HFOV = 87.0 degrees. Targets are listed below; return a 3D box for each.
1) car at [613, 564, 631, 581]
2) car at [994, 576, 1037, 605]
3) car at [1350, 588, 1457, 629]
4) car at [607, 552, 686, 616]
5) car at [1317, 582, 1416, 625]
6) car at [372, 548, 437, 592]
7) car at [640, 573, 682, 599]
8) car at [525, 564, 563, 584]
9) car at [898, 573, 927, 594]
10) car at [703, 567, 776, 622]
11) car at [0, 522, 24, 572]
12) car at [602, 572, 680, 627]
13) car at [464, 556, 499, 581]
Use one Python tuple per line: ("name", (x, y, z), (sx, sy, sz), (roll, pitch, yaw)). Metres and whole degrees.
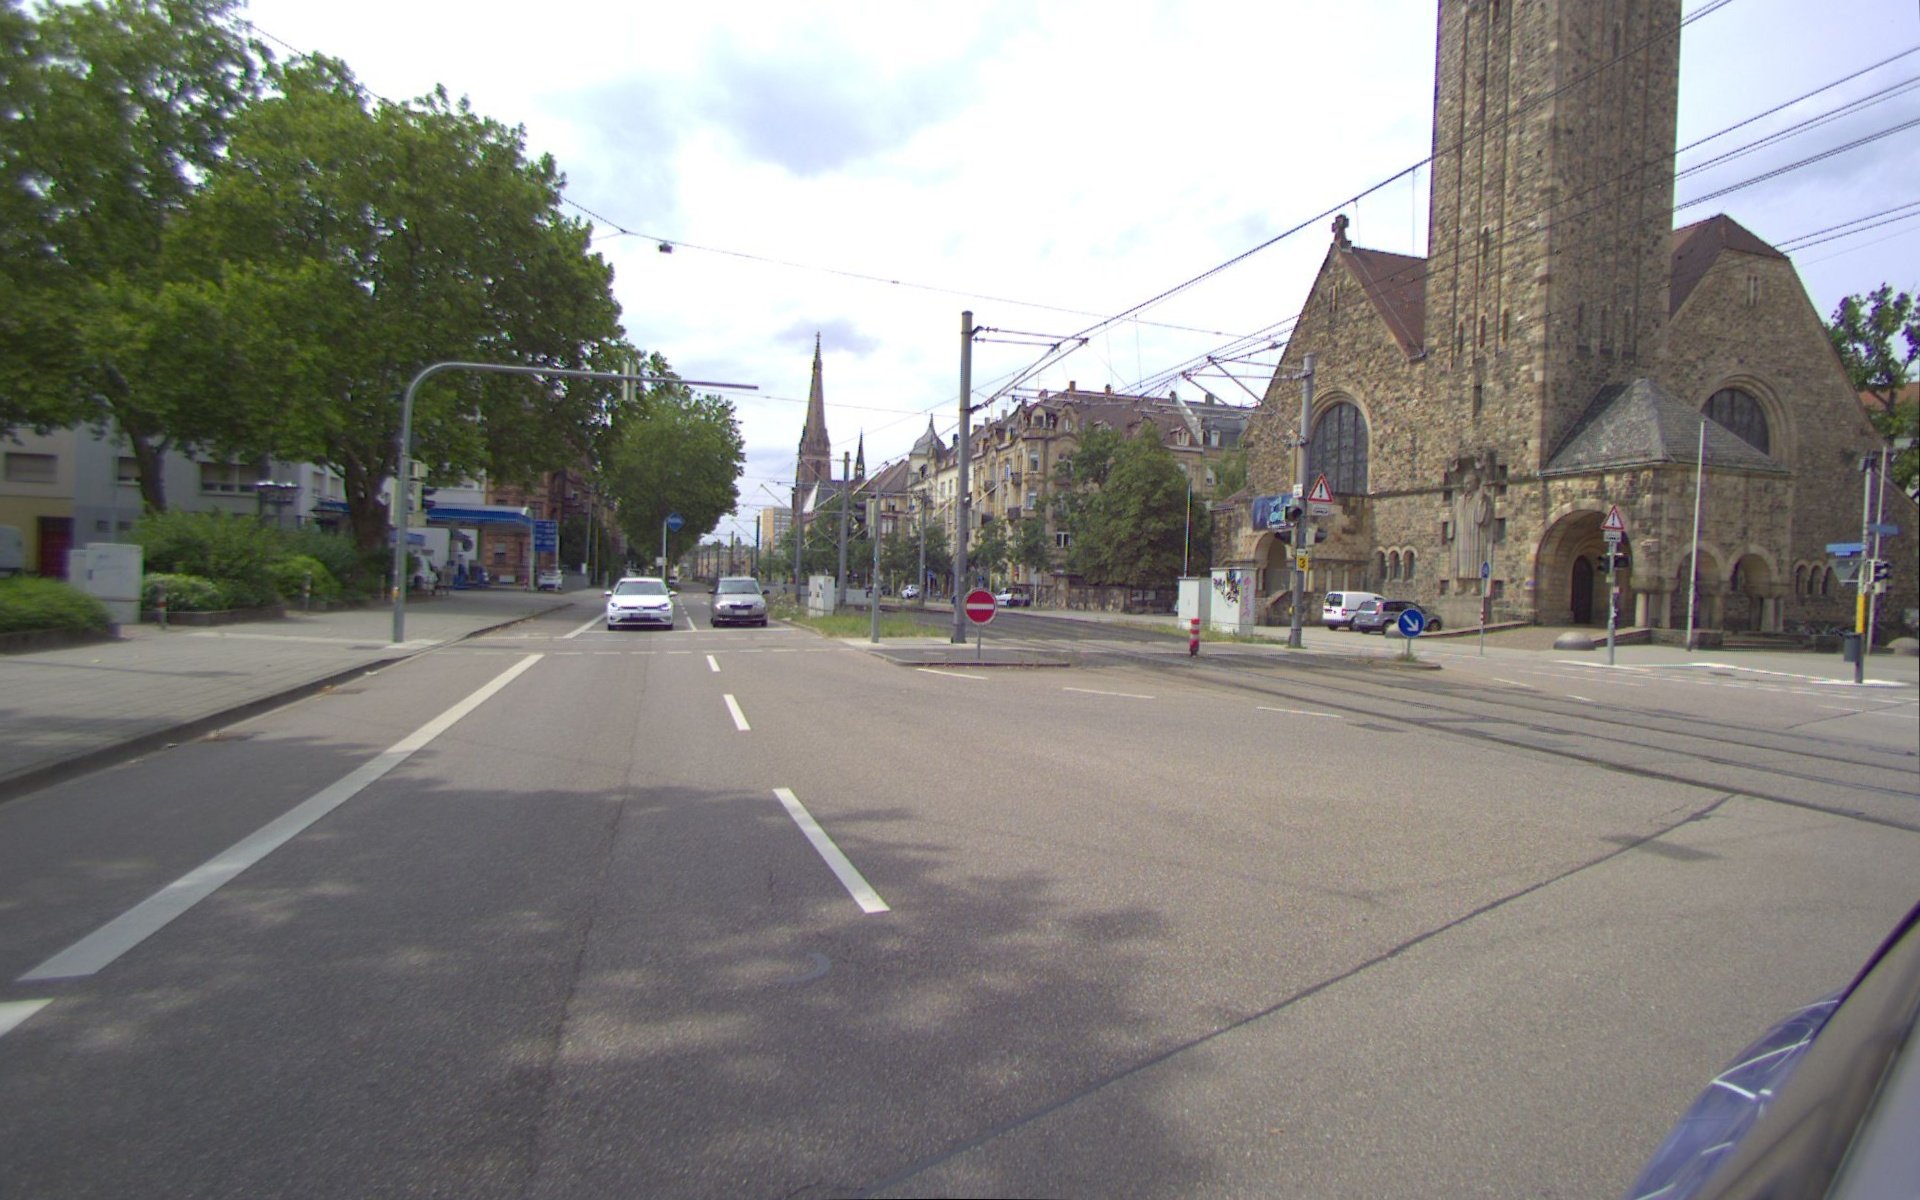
("car", (-44.565, -3.611, 133.490), (1.958, 2.039, 4.009), (2, 1, -16))
("car", (4.132, -0.746, 76.004), (1.958, 2.038, 4.009), (2, 1, -16))
("car", (19.585, 0.371, 44.733), (3.915, 1.671, 2.005), (1, 1, -16))
("car", (-10.616, -0.579, 34.525), (1.959, 2.038, 4.007), (1, 2, -9))
("car", (19.144, 0.156, 47.733), (3.871, 1.905, 2.005), (1, 1, -16))
("car", (-26.013, -1.396, 47.546), (1.958, 1.901, 4.392), (2, 1, -20))
("car", (-15.927, -0.753, 53.827), (1.958, 1.282, 4.009), (2, 1, -19))
("car", (-28.520, -1.766, 69.451), (1.958, 1.282, 4.009), (2, 1, -16))
("car", (-4.971, -1.739, 106.280), (1.958, 2.038, 4.009), (1, 1, -18))
("car", (-6.829, -0.207, 31.070), (1.800, 1.530, 4.298), (2, 1, -17))
("car", (-42.439, -2.320, 43.428), (1.958, 2.134, 4.037), (1, 1, -21))
("car", (-9.071, -0.065, 29.087), (1.800, 1.400, 4.297), (2, 1, -14))
("car", (-40.224, -2.645, 85.149), (1.958, 2.039, 4.009), (2, 1, -15))
